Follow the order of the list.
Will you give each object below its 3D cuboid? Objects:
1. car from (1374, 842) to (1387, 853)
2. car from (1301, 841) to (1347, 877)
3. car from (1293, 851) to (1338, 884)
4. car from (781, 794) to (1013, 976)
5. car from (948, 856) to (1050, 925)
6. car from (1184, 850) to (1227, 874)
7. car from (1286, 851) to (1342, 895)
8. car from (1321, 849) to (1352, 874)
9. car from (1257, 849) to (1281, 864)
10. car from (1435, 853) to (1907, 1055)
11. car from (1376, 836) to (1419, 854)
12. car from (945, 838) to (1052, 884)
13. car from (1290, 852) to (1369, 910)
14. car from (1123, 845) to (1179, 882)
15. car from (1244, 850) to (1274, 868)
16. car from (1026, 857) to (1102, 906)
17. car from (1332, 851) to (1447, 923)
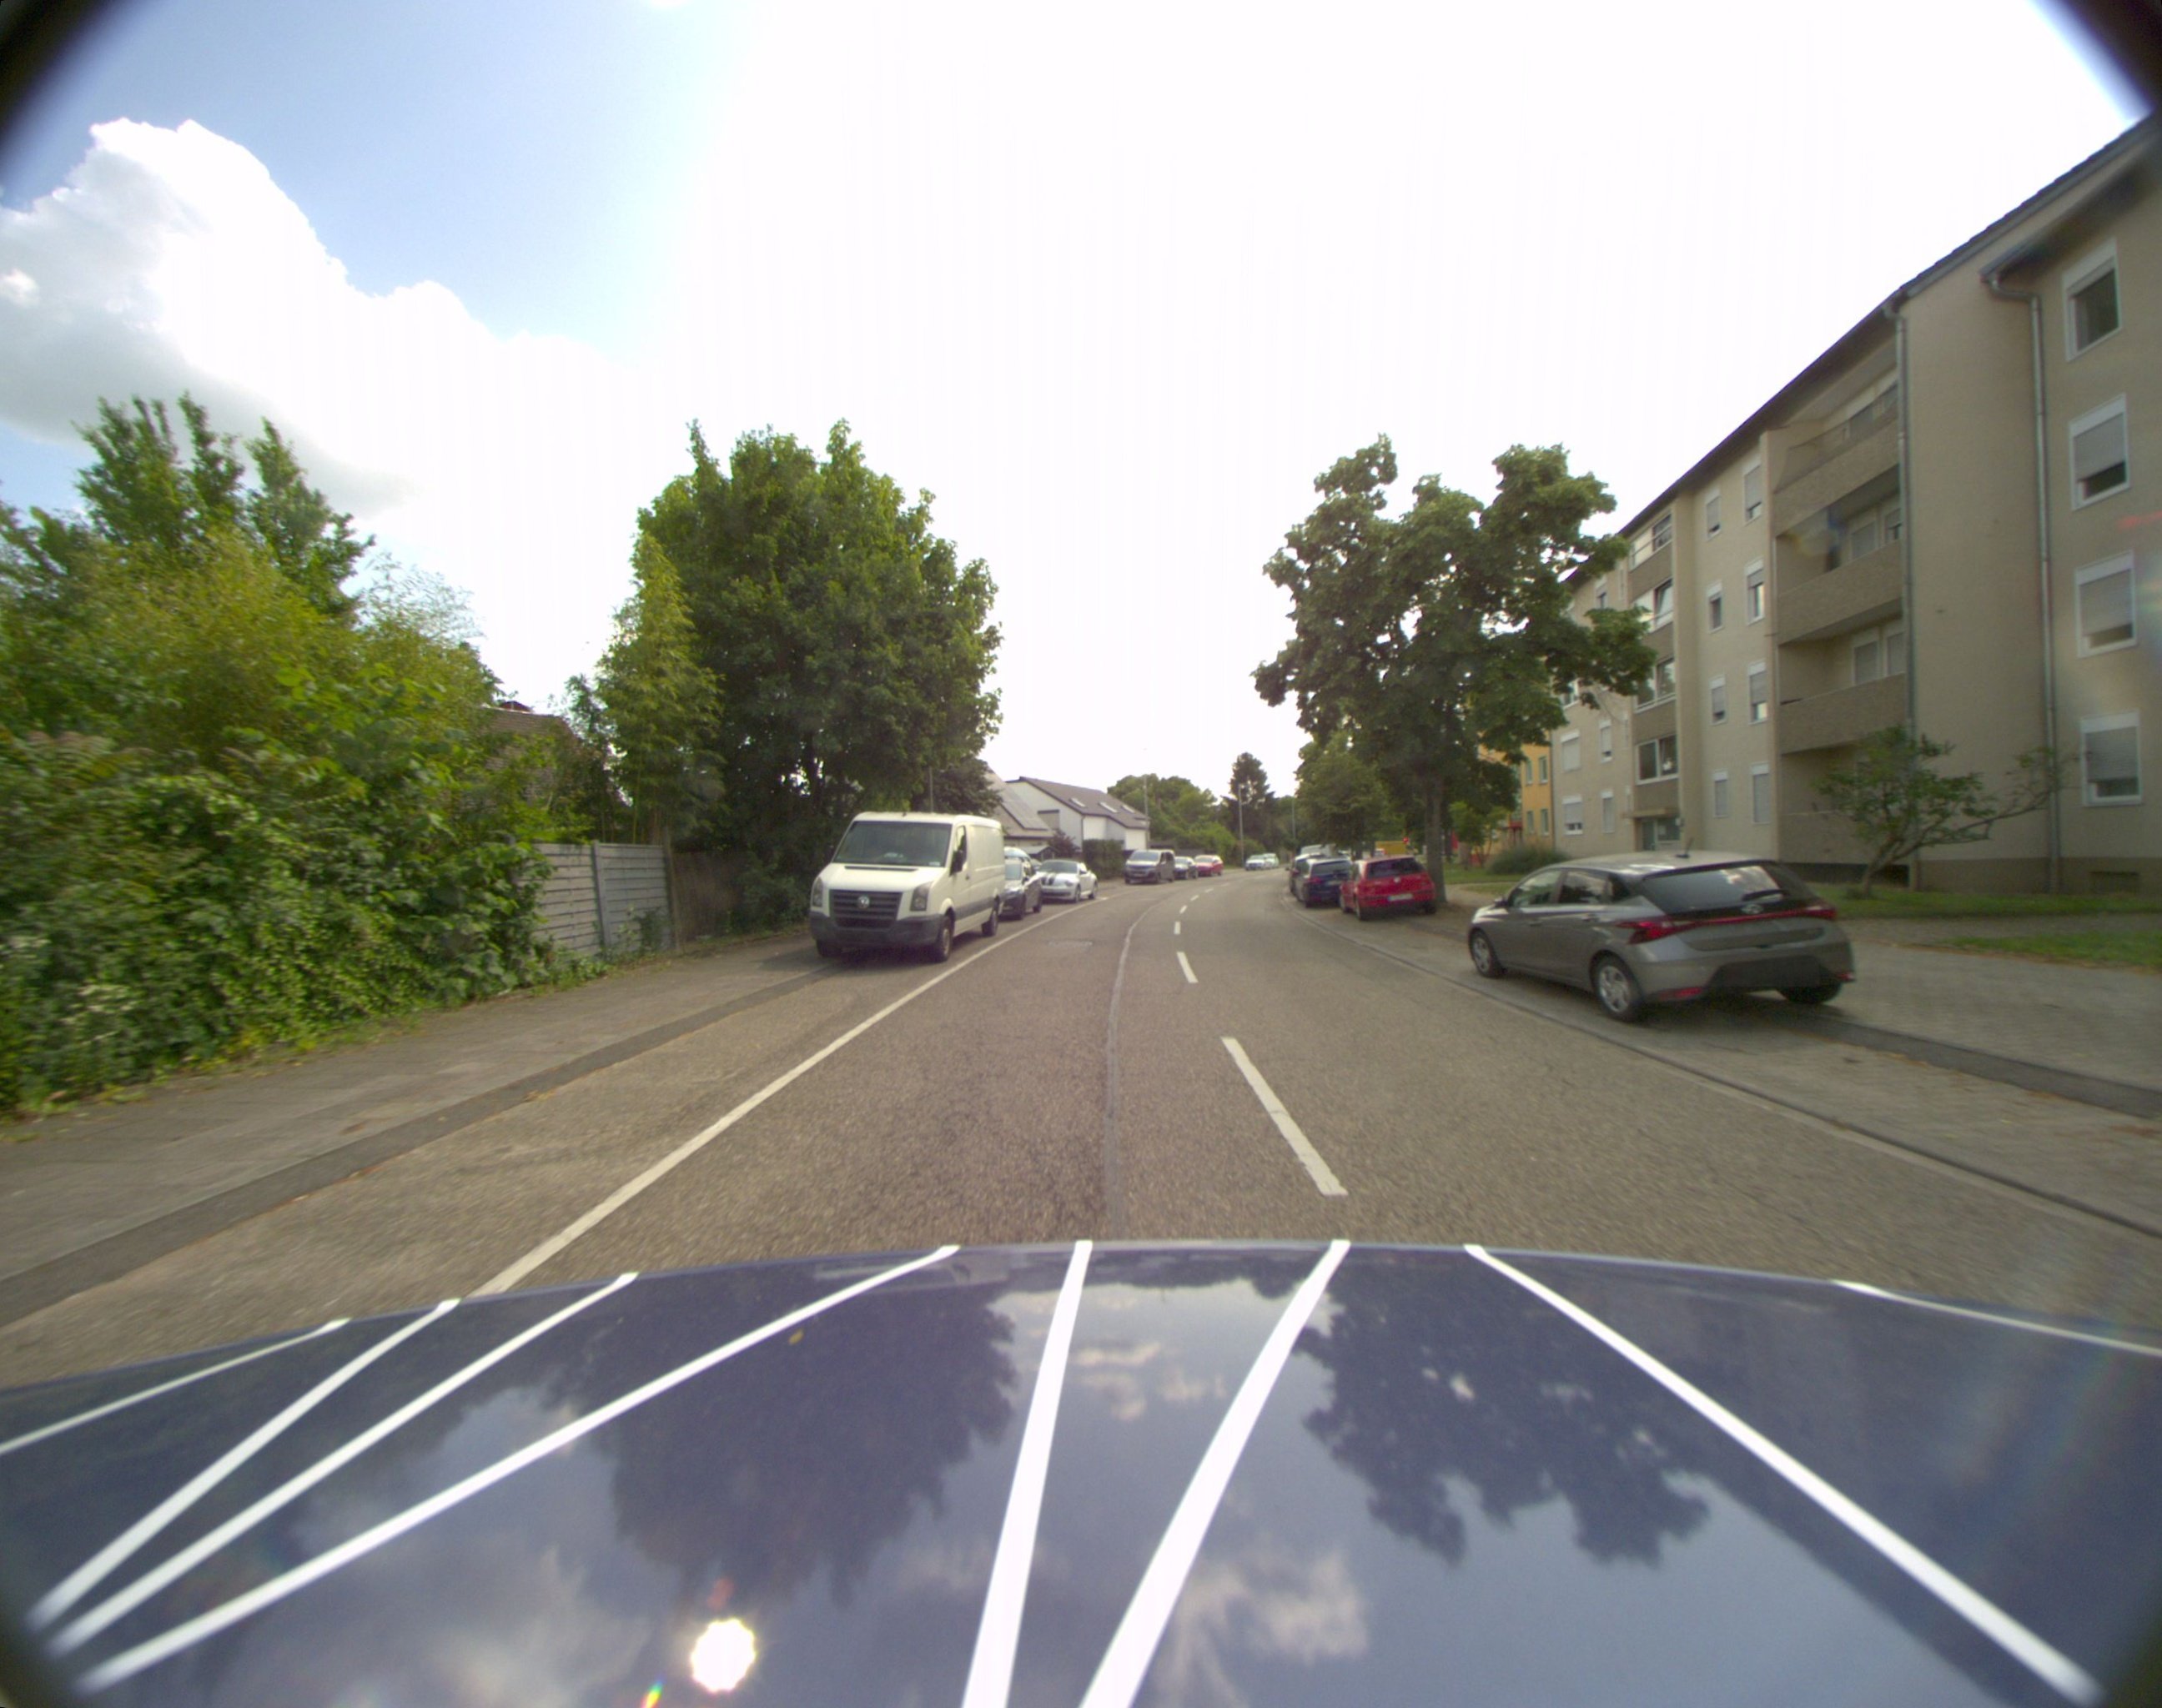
[{"bbox_3d":[45.722,-0.963,115.913,1.555,1.508,3.614,-2,0,24],"label":"car"},{"bbox_3d":[14.449,0.247,44.973,1.881,1.998,5.331,-1,0,25],"label":"car"},{"bbox_3d":[11.769,0.629,37.924,1.762,1.480,4.511,-2,0,21],"label":"car"},{"bbox_3d":[-2.799,0.421,13.347,2.122,2.426,5.896,-2,0,5],"label":"car"},{"bbox_3d":[-2.043,0.880,20.080,1.721,1.576,4.126,-2,0,7],"label":"car"},{"bbox_3d":[9.011,0.518,54.809,1.851,1.570,4.740,-2,0,24],"label":"car"},{"bbox_3d":[9.029,0.694,29.705,1.763,1.480,4.037,-4,0,13],"label":"car"},{"bbox_3d":[17.767,0.507,52.805,1.519,1.540,3.761,-7,-2,23],"label":"car"},{"bbox_3d":[19.279,0.241,77.816,1.583,1.511,3.761,-2,0,25],"label":"car"},{"bbox_3d":[5.614,0.797,8.114,1.764,1.480,4.344,-4,0,3],"label":"car"},{"bbox_3d":[55.200,-1.581,132.759,6.510,2.853,2.498,-3,0,11],"label":"car"},{"bbox_3d":[-4.186,0.374,37.802,5.343,2.045,2.004,-2,0,39],"label":"car"},{"bbox_3d":[7.757,0.764,24.090,1.763,1.480,4.573,-4,1,11],"label":"car"},{"bbox_3d":[3.980,0.490,42.648,1.844,1.933,4.883,1,1,21],"label":"car"},{"bbox_3d":[16.476,0.467,70.413,1.722,1.478,3.755,-2,0,29],"label":"car"},{"bbox_3d":[-0.498,0.900,26.795,1.743,1.503,4.462,-2,0,10],"label":"car"},{"bbox_3d":[7.458,0.732,18.774,1.840,1.430,4.095,-4,0,12],"label":"car"}]
